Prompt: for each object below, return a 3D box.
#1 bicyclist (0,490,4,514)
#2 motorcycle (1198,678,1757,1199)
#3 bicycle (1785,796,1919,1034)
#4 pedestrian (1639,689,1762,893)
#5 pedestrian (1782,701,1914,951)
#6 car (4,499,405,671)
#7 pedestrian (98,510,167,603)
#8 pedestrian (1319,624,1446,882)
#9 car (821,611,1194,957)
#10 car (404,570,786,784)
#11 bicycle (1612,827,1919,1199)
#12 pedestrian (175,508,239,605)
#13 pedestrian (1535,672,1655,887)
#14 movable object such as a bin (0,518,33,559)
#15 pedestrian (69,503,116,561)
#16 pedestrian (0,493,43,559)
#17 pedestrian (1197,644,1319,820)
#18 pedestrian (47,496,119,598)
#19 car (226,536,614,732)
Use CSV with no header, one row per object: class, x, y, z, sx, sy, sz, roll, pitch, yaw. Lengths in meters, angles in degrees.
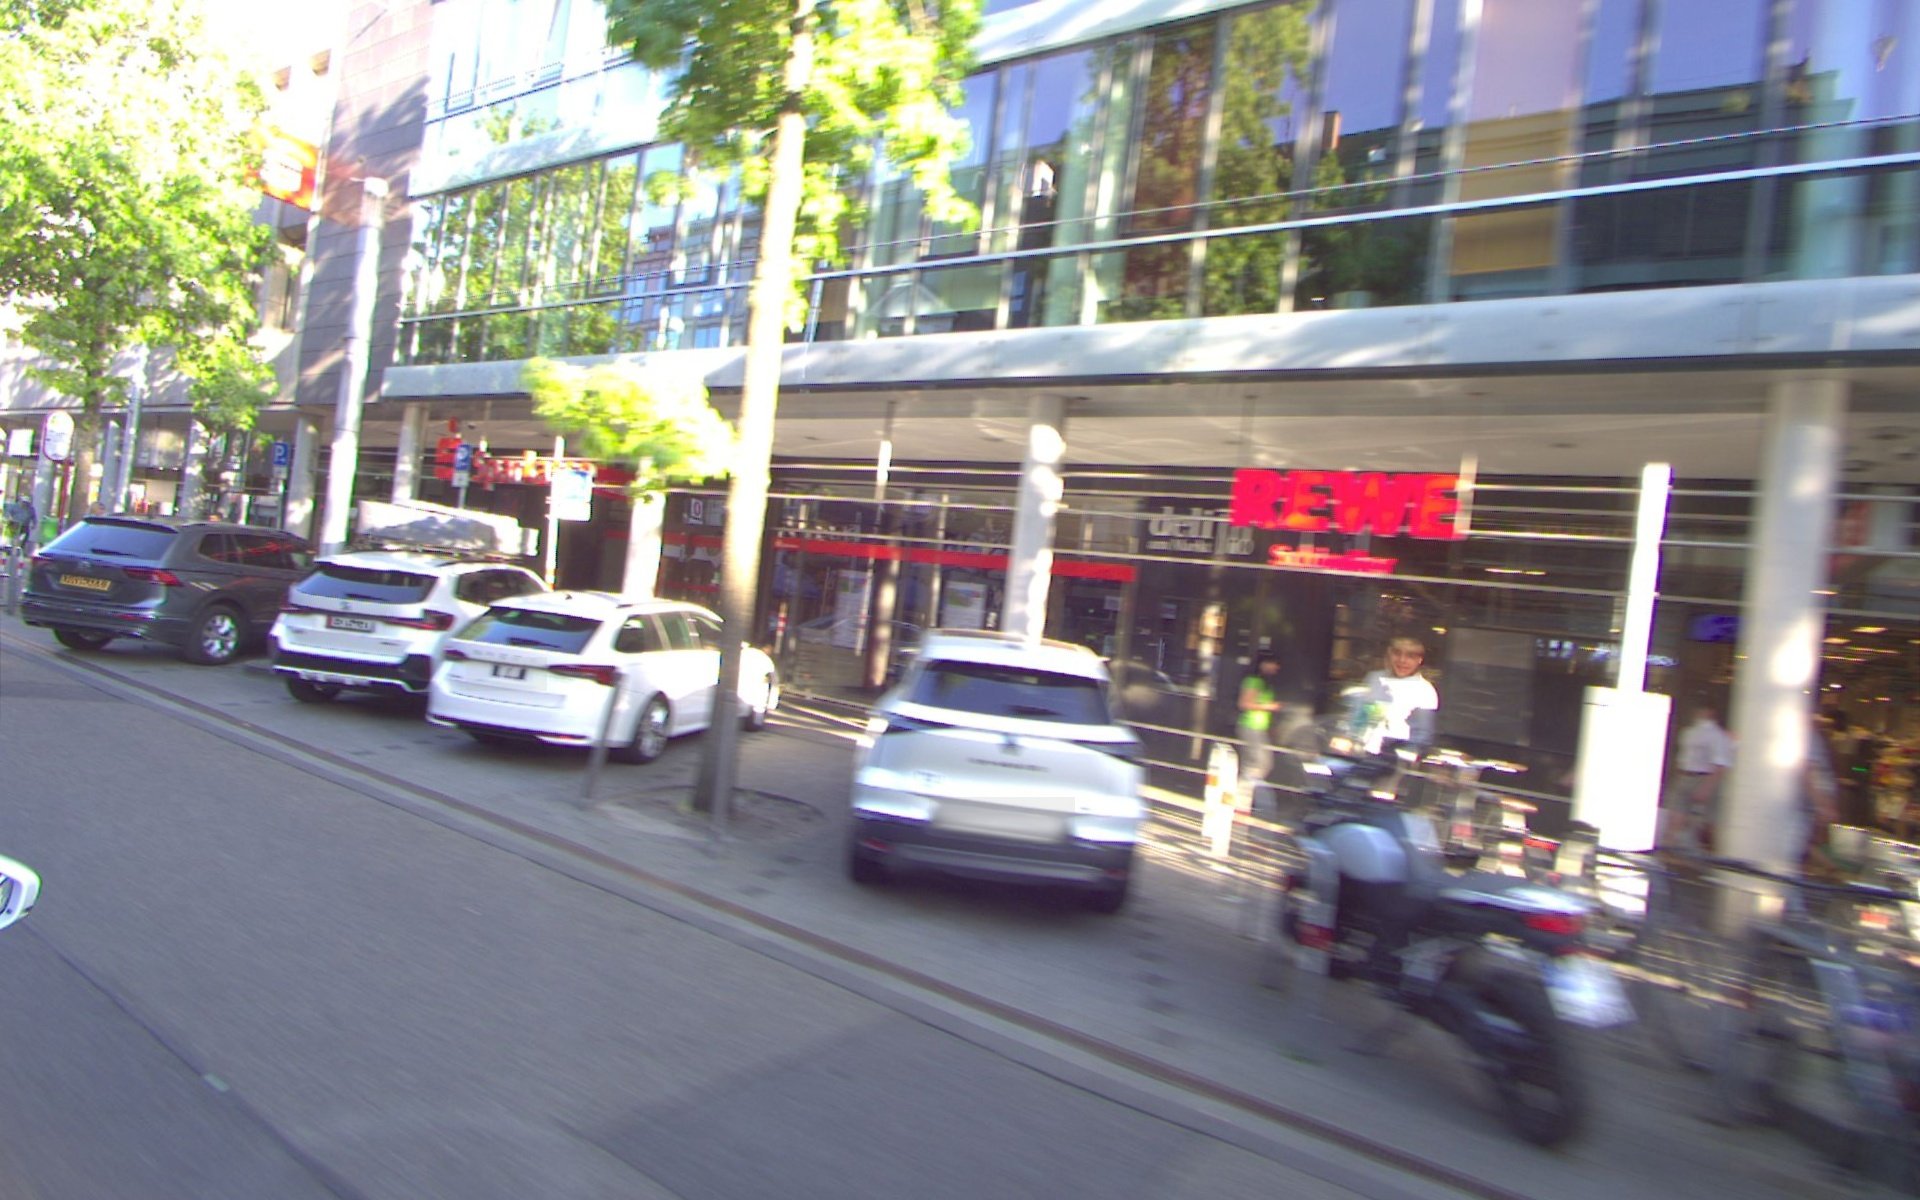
bicyclist,-9.643,-0.310,9.396,0.900,1.630,0.777,7,-3,42
motorcycle,2.002,1.255,4.472,0.844,1.529,2.314,5,1,-10
bicycle,5.714,1.882,5.738,0.620,1.120,1.778,6,1,8
pedestrian,6.979,1.768,9.517,0.588,1.765,0.626,7,1,18
pedestrian,6.839,1.702,7.776,0.516,1.773,0.557,7,2,33
car,-9.350,-0.159,13.017,1.663,1.673,4.356,6,0,2
pedestrian,-14.710,-0.765,17.906,0.598,1.572,0.687,6,1,-13
pedestrian,3.454,1.211,8.215,0.653,1.943,0.583,7,2,35
car,0.260,1.005,7.432,1.820,1.591,4.158,7,0,0
car,-3.314,0.646,10.125,1.656,1.518,4.161,7,0,9
bicycle,3.242,1.605,3.542,0.655,1.134,1.897,6,0,4
pedestrian,-14.448,-0.831,19.313,0.678,1.753,0.630,6,1,-15
pedestrian,5.666,1.570,9.014,0.588,1.765,0.626,7,1,18
movable object such as a bin,-24.463,-1.602,25.839,0.706,0.934,0.691,7,-3,33
pedestrian,-26.138,-2.056,30.305,0.911,1.608,0.697,7,-1,34
pedestrian,-24.736,-1.939,26.383,0.622,1.590,0.683,7,-2,33
pedestrian,3.108,1.345,10.484,0.868,1.644,0.714,7,1,34
pedestrian,-15.542,-0.927,17.853,0.672,1.707,0.692,6,1,-23
car,-5.730,0.321,11.418,1.849,1.607,4.249,7,0,2
